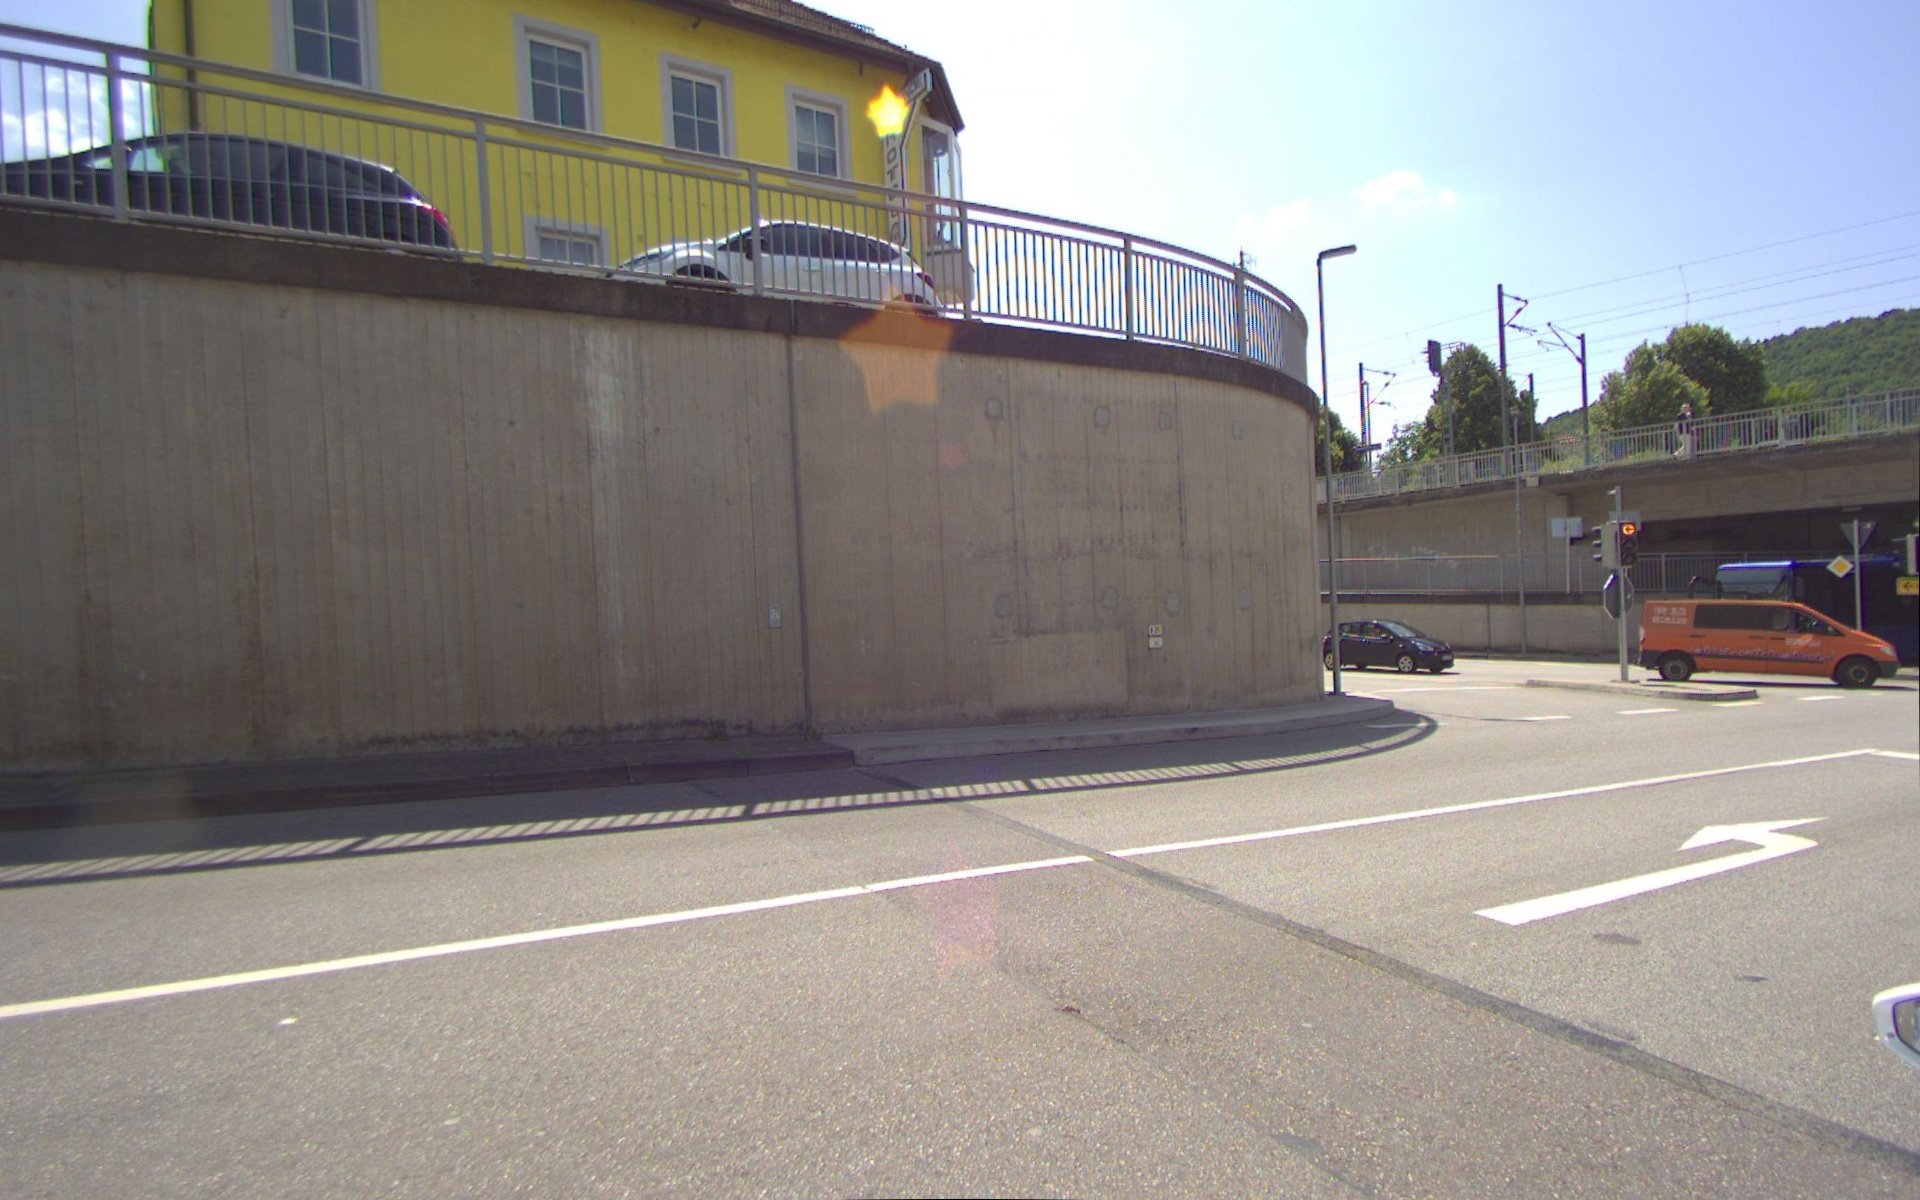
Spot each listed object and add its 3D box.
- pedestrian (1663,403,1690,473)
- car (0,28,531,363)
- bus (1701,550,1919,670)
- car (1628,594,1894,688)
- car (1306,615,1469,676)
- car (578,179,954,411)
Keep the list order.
[{"bbox_3d":[22.790,-5.142,31.960,0.531,2.108,0.571,1,-1,-40],"label":"pedestrian"},{"bbox_3d":[-6.287,-3.416,9.082,4.175,1.728,1.812,-2,1,-32],"label":"car"},{"bbox_3d":[28.301,0.150,29.620,12.150,3.215,2.585,-1,1,-9],"label":"bus"},{"bbox_3d":[18.291,0.887,23.276,4.641,1.958,1.873,-1,1,35],"label":"car"},{"bbox_3d":[12.249,1.249,29.008,1.975,1.528,3.970,-1,0,-29],"label":"car"},{"bbox_3d":[-2.244,-3.393,11.891,3.955,1.690,1.892,-2,1,-32],"label":"car"}]
